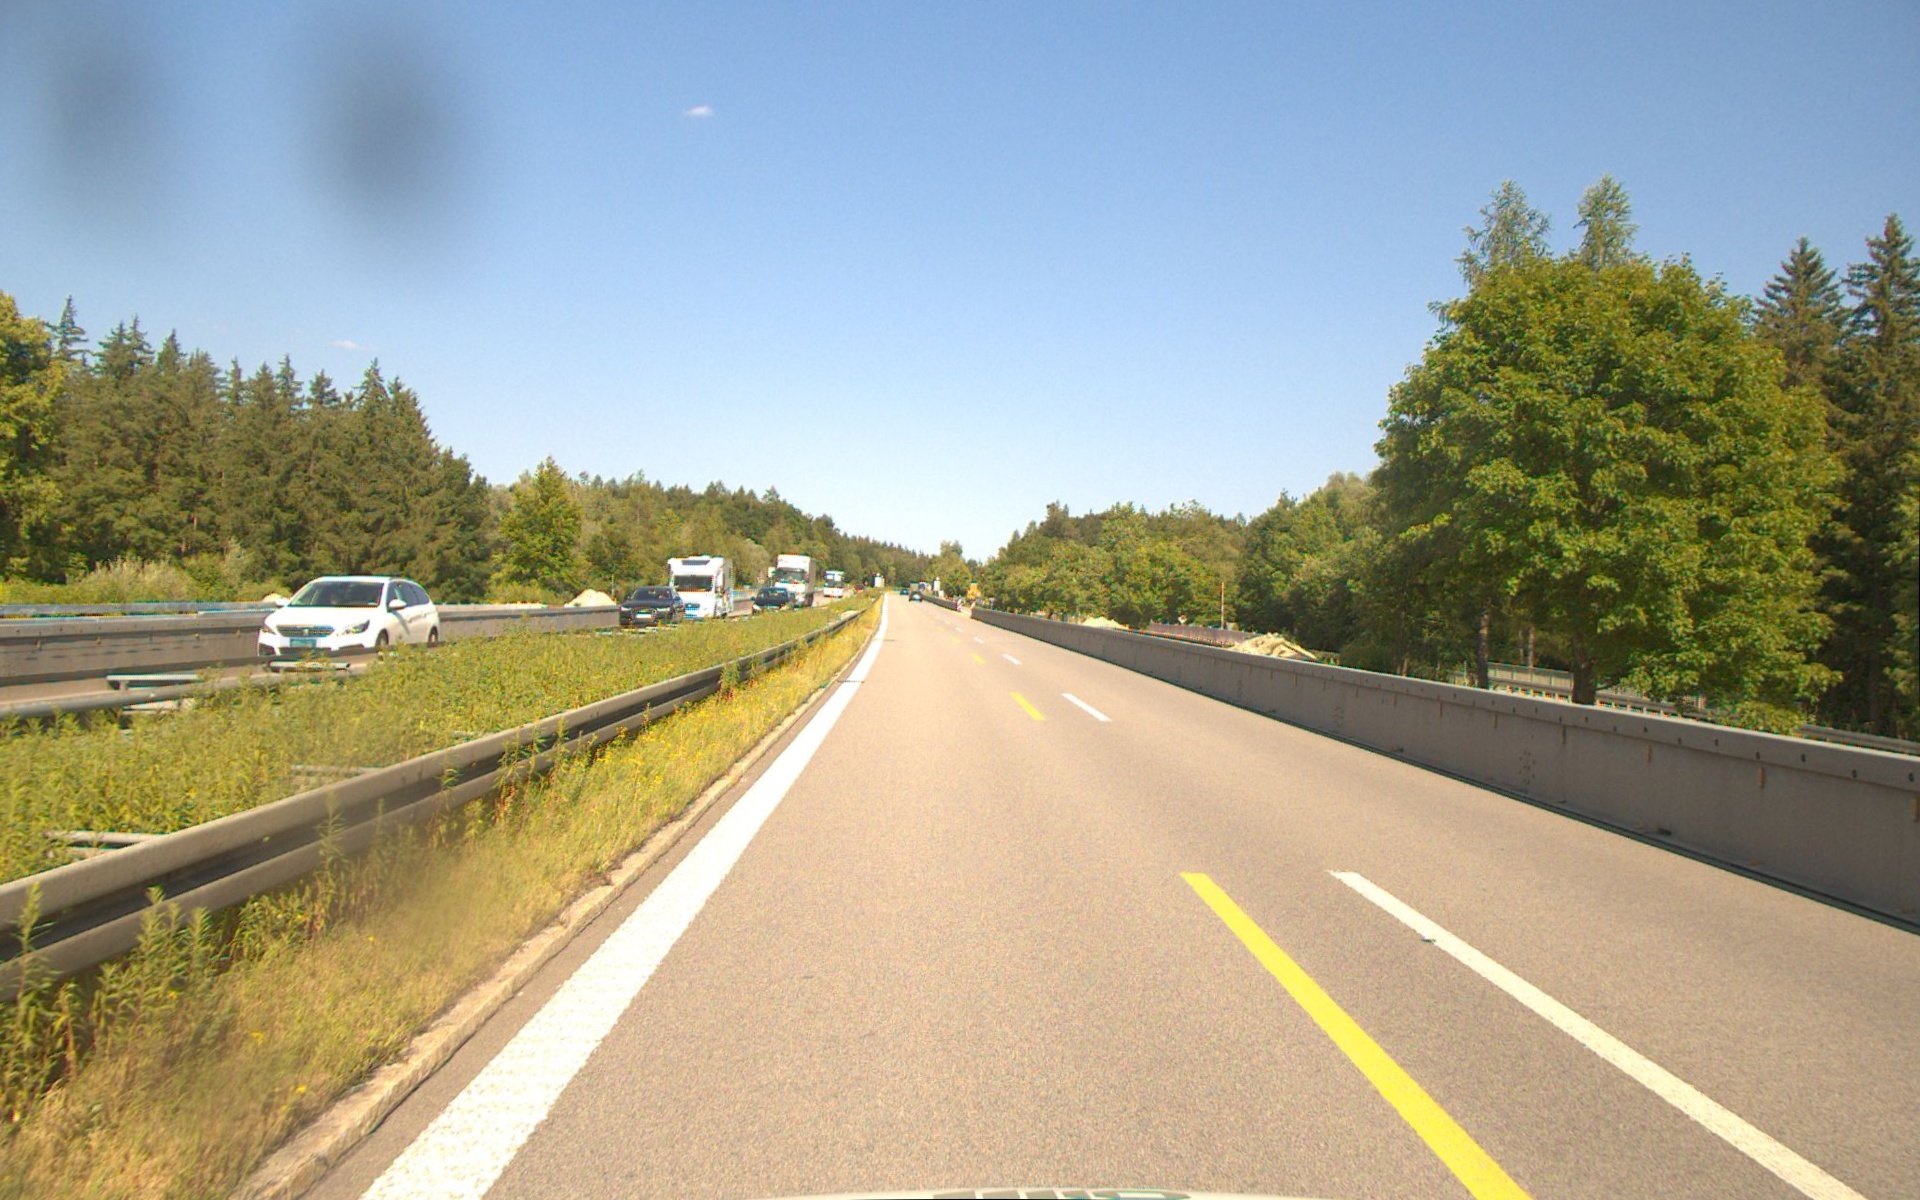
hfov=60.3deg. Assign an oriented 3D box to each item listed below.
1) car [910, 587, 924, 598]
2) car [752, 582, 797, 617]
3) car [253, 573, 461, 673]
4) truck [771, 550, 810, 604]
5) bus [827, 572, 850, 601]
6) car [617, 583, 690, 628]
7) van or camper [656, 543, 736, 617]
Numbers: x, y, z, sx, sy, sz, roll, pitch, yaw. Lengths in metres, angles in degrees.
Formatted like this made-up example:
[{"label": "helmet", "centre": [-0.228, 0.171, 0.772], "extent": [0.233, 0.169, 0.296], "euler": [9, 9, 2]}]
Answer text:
[{"label": "car", "centre": [-5.835, -1.000, 224.687], "extent": [1.709, 1.491, 4.292], "euler": [2, 0, -3]}, {"label": "car", "centre": [-8.560, -0.023, 76.556], "extent": [1.706, 1.557, 3.999], "euler": [0, 0, -1]}, {"label": "car", "centre": [-9.595, 0.321, 26.755], "extent": [1.667, 1.457, 4.954], "euler": [0, 0, -2]}, {"label": "truck", "centre": [-13.443, -1.774, 131.244], "extent": [2.715, 4.159, 5.473], "euler": [1, 0, -2]}, {"label": "bus", "centre": [-16.904, -1.880, 230.867], "extent": [2.824, 3.734, 12.909], "euler": [3, 0, -3]}, {"label": "car", "centre": [-10.770, 0.164, 58.418], "extent": [1.706, 1.457, 5.233], "euler": [-1, 0, -2]}, {"label": "van or camper", "centre": [-11.384, -0.839, 71.978], "extent": [2.357, 3.002, 7.520], "euler": [2, 0, -1]}]
